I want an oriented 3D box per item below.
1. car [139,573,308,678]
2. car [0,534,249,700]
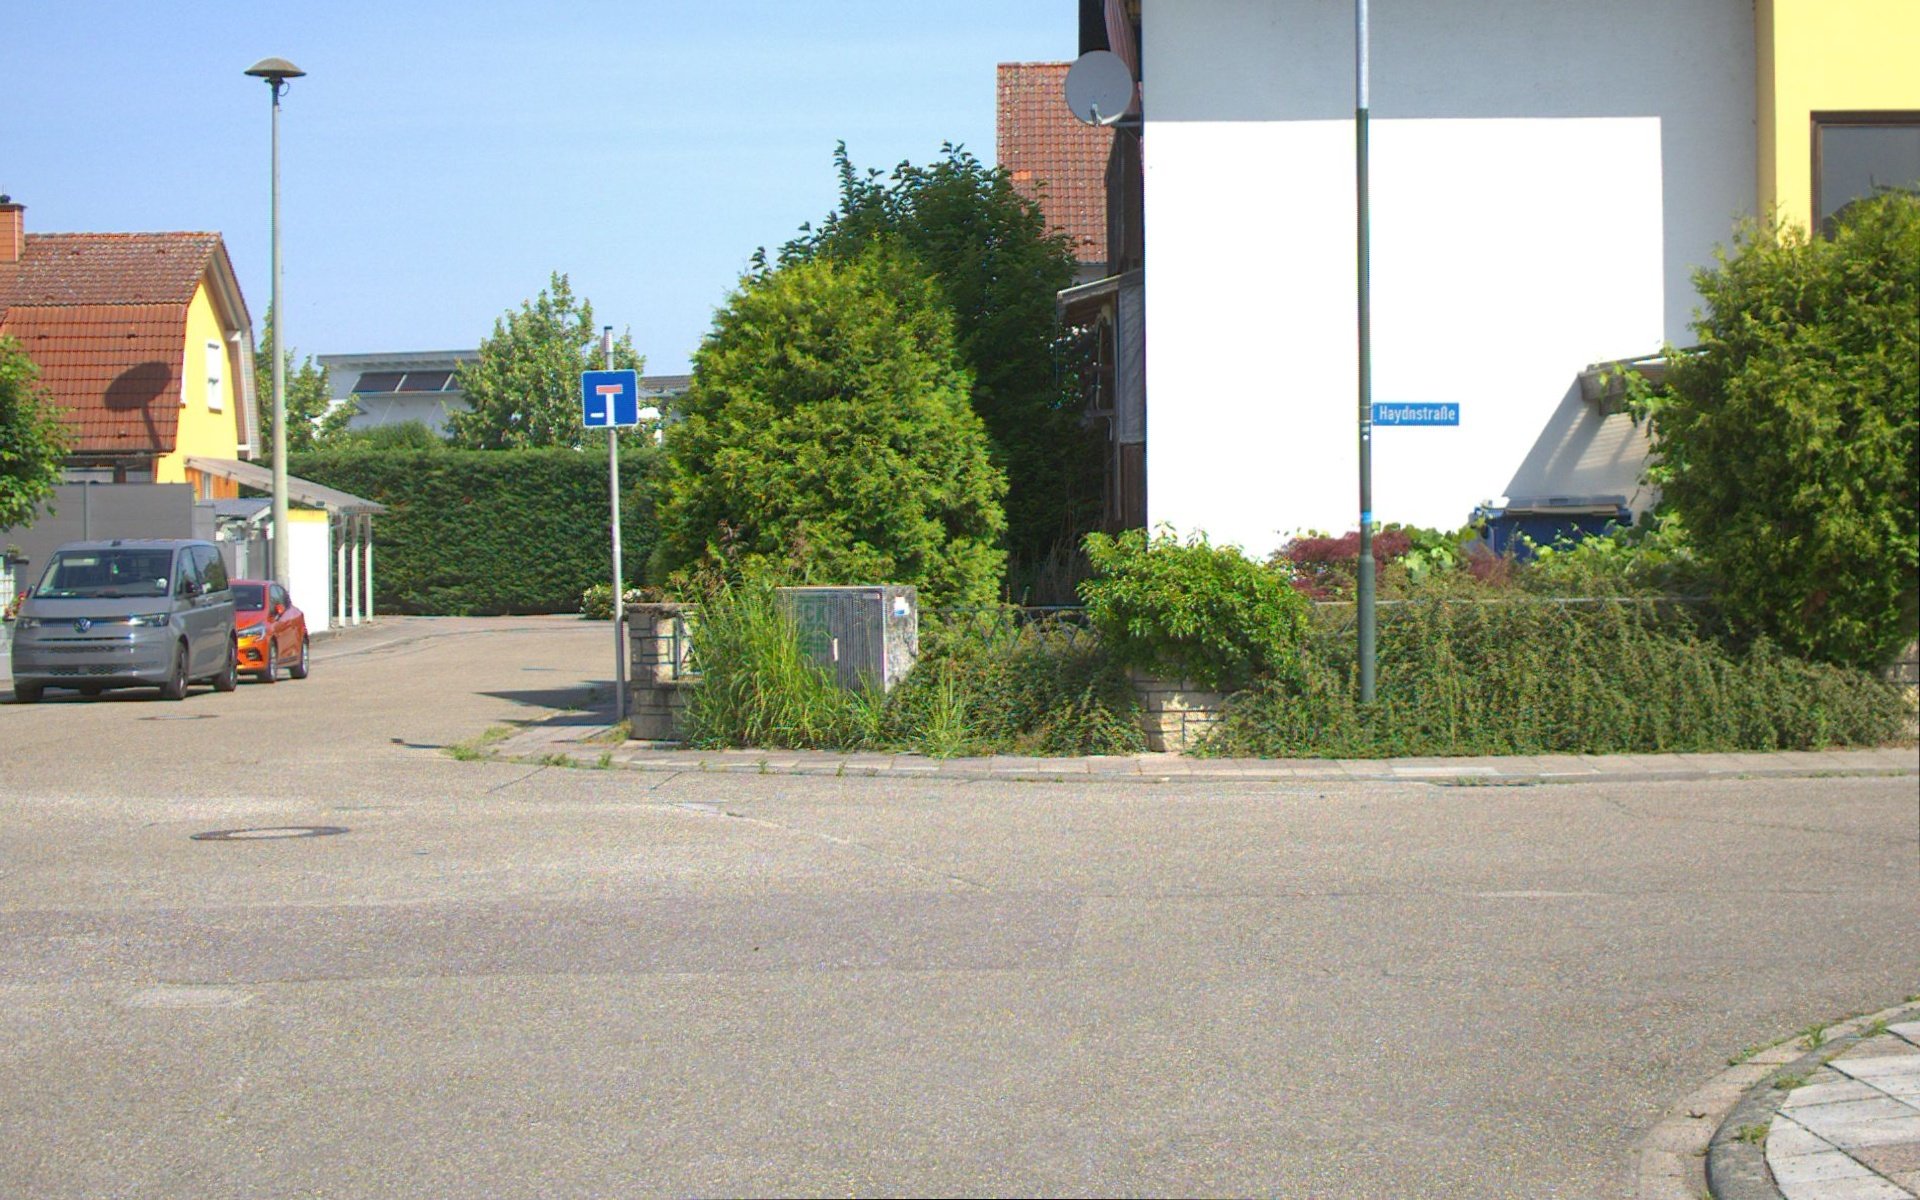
[{"bbox_3d":[-10.201,0.321,47.853,1.651,1.360,3.779,-1,1,-2],"label":"car"},{"bbox_3d":[-9.963,0.147,41.206,1.901,1.863,4.371,-1,1,1],"label":"car"}]
